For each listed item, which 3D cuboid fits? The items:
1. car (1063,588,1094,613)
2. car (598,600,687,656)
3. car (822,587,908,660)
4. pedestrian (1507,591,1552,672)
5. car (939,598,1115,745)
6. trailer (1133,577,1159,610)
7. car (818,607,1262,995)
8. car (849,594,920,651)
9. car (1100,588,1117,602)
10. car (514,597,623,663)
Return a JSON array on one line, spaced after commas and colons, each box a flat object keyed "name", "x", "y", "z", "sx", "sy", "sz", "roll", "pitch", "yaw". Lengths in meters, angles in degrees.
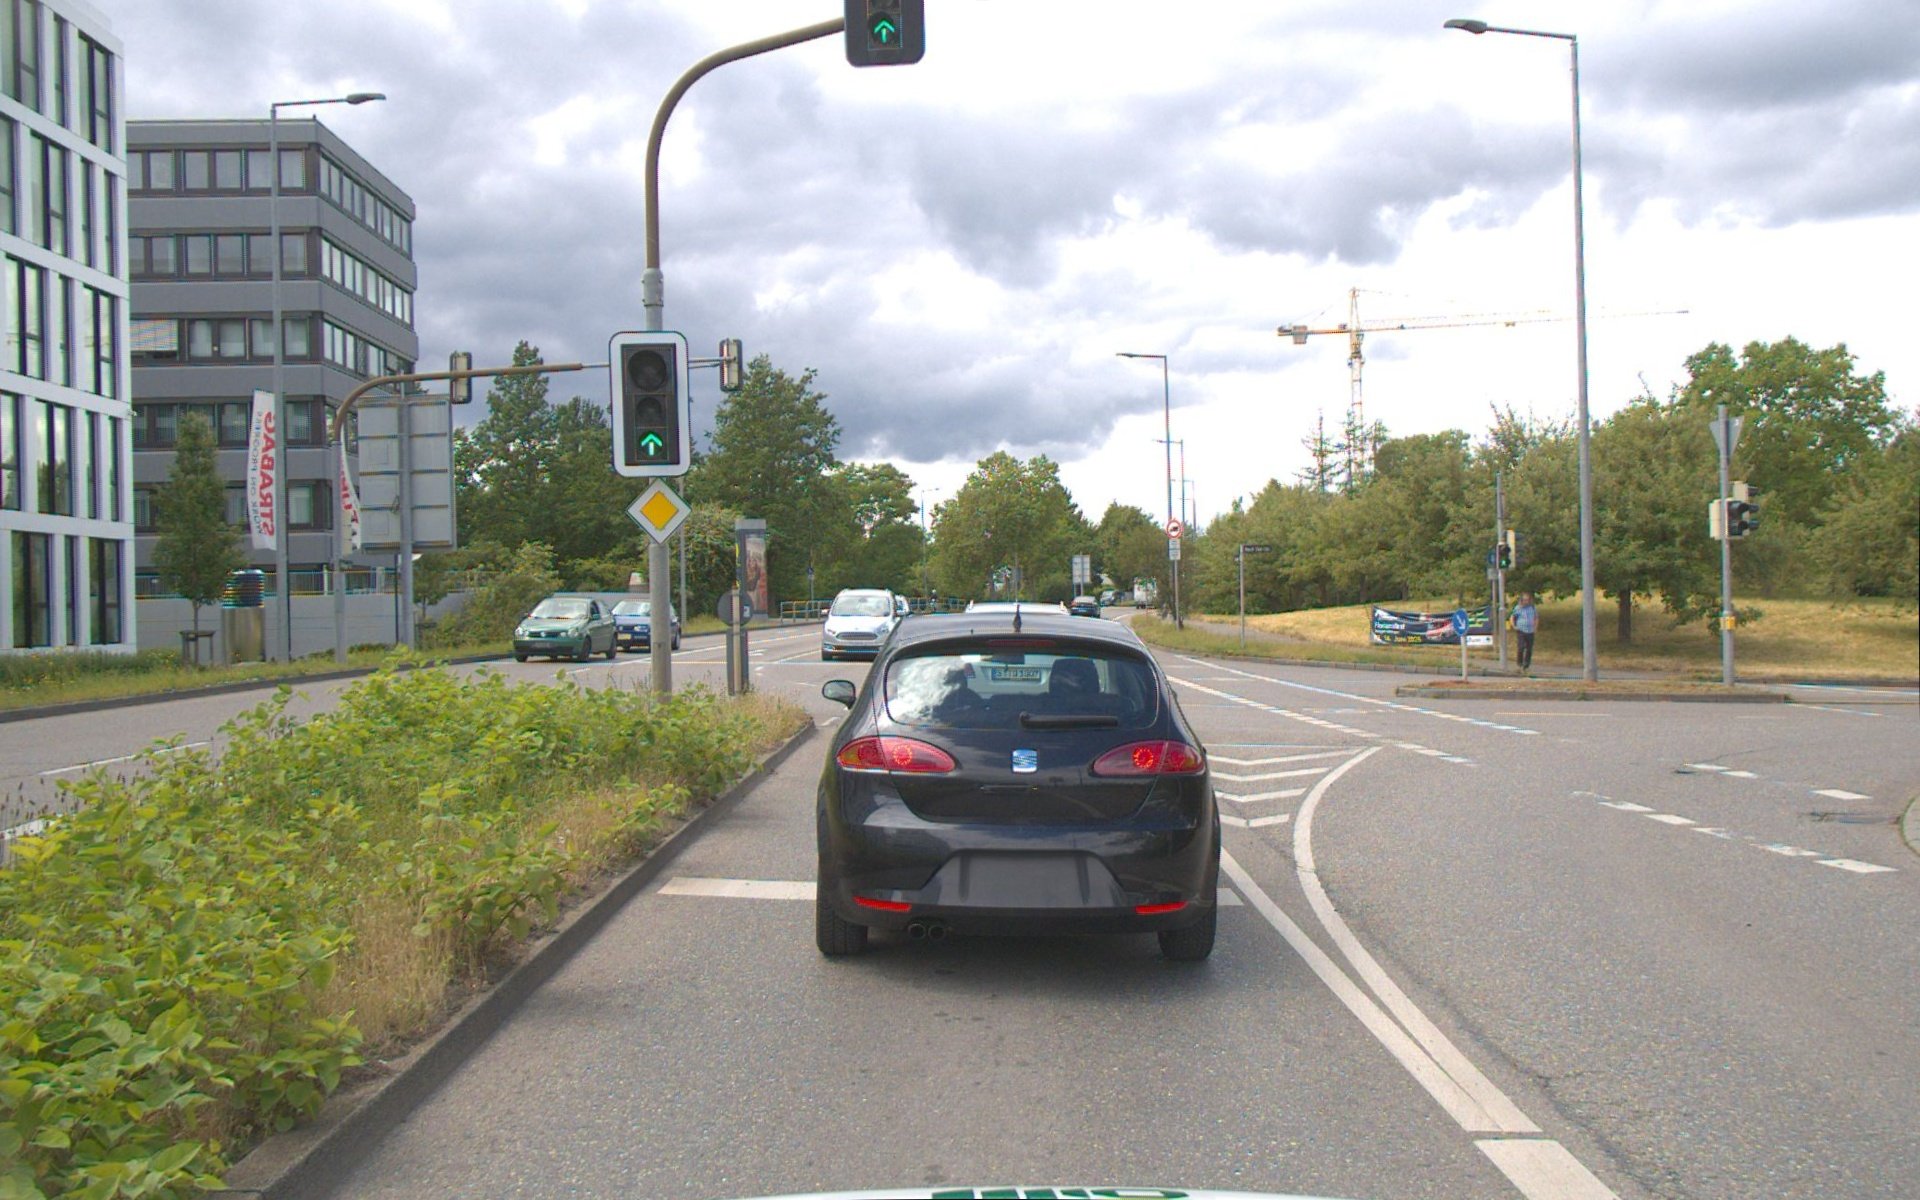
[{"name": "car", "x": 7.760, "y": 0.036, "z": 107.921, "sx": 1.951, "sy": 1.593, "sz": 4.473, "roll": 0, "pitch": 0, "yaw": 4}, {"name": "car", "x": -8.667, "y": 0.730, "z": 45.423, "sx": 1.521, "sy": 1.444, "sz": 3.897, "roll": 0, "pitch": 0, "yaw": 2}, {"name": "car", "x": -2.321, "y": 0.533, "z": 41.481, "sx": 1.783, "sy": 1.716, "sz": 4.645, "roll": 1, "pitch": 0, "yaw": 1}, {"name": "pedestrian", "x": 13.070, "y": 0.714, "z": 38.008, "sx": 0.703, "sy": 1.824, "sz": 1.044, "roll": 1, "pitch": -1, "yaw": 3}, {"name": "car", "x": 0.704, "y": 0.756, "z": 18.982, "sx": 1.797, "sy": 1.493, "sz": 3.751, "roll": 1, "pitch": -1, "yaw": 0}, {"name": "trailer", "x": 18.210, "y": -0.584, "z": 161.747, "sx": 2.438, "sy": 3.127, "sz": 5.591, "roll": 1, "pitch": -1, "yaw": 8}, {"name": "car", "x": 0.284, "y": 0.774, "z": 8.023, "sx": 1.676, "sy": 1.442, "sz": 3.458, "roll": 1, "pitch": 0, "yaw": -1}, {"name": "car", "x": -2.132, "y": 0.607, "z": 47.447, "sx": 1.626, "sy": 1.545, "sz": 4.086, "roll": 1, "pitch": 0, "yaw": 3}, {"name": "car", "x": 18.025, "y": -0.553, "z": 200.445, "sx": 1.678, "sy": 1.609, "sz": 3.745, "roll": 1, "pitch": -1, "yaw": 11}, {"name": "car", "x": -9.072, "y": 0.653, "z": 38.564, "sx": 1.572, "sy": 1.457, "sz": 3.753, "roll": 0, "pitch": 0, "yaw": 1}]
